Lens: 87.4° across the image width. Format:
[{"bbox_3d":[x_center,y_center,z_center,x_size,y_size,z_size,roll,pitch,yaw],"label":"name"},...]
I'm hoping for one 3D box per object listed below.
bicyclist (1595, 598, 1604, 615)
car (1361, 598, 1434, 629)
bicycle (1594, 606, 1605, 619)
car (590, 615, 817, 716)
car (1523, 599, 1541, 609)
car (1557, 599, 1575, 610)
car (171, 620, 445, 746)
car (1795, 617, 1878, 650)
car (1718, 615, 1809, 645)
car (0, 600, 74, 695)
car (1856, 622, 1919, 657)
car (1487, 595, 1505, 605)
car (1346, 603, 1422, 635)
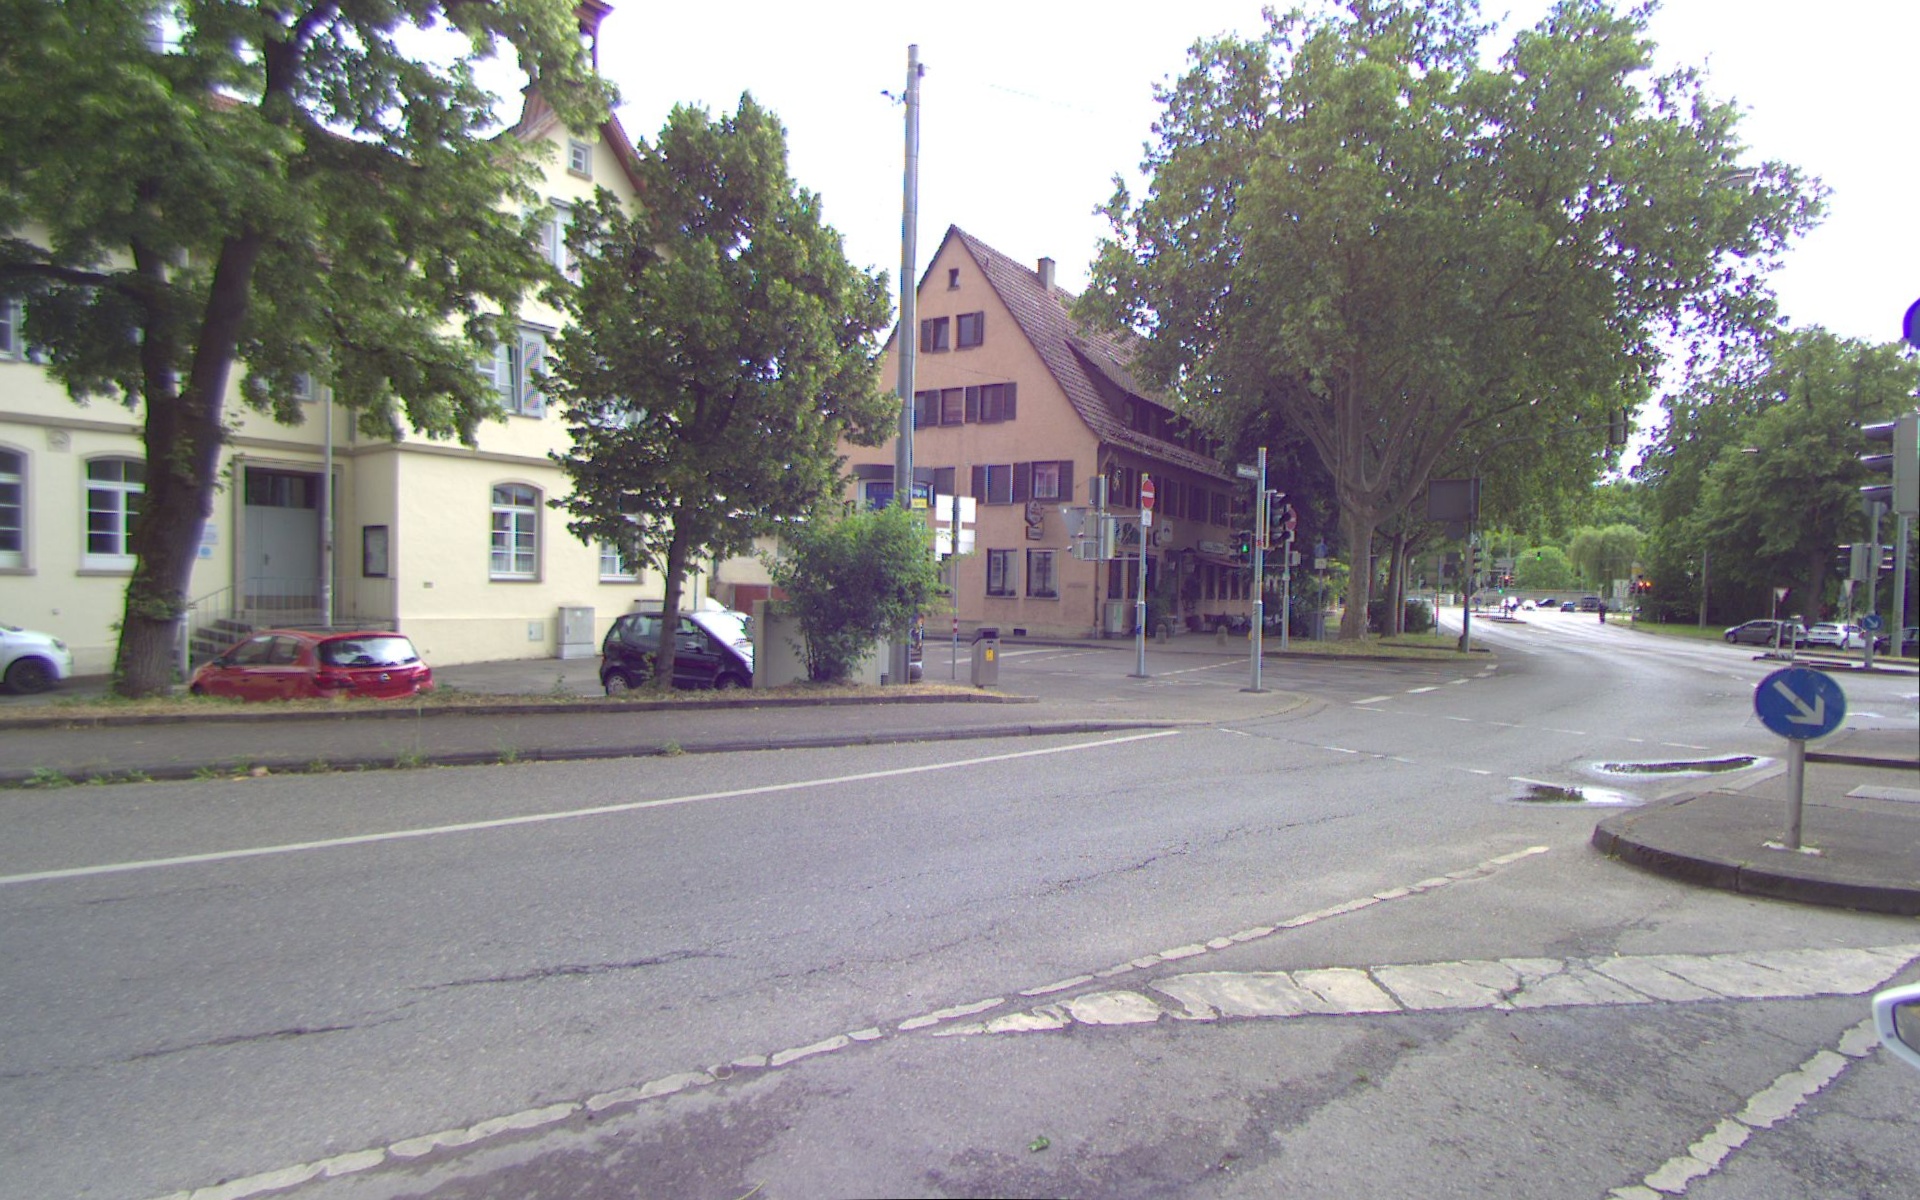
[{"bbox_3d":[51.705,0.506,81.235,0.532,1.360,0.713,2,1,29],"label":"bicyclist"},{"bbox_3d":[26.156,0.809,60.084,3.924,1.706,1.999,1,0,24],"label":"car"},{"bbox_3d":[51.705,1.020,81.245,0.548,0.971,2.030,2,0,29],"label":"bicycle"},{"bbox_3d":[-4.399,1.041,17.213,3.507,1.459,1.645,2,0,25],"label":"car"},{"bbox_3d":[89.593,0.611,157.458,1.469,1.436,3.028,3,0,11],"label":"car"},{"bbox_3d":[92.529,0.728,153.384,1.963,1.617,3.995,2,0,27],"label":"car"},{"bbox_3d":[-9.097,1.056,13.987,3.652,1.401,1.659,2,0,29],"label":"car"},{"bbox_3d":[47.981,1.816,55.007,3.697,1.662,1.858,2,0,-20],"label":"car"},{"bbox_3d":[44.327,1.659,55.525,1.593,1.485,3.777,1,0,-12],"label":"car"},{"bbox_3d":[-16.648,0.751,16.108,1.585,1.499,3.422,2,0,38],"label":"car"},{"bbox_3d":[40.174,1.691,42.310,1.746,1.370,3.326,2,0,-3],"label":"car"},{"bbox_3d":[84.772,-0.024,158.996,1.553,1.506,3.337,3,0,11],"label":"car"},{"bbox_3d":[24.459,1.062,57.979,3.924,1.706,1.999,1,0,24],"label":"car"}]
